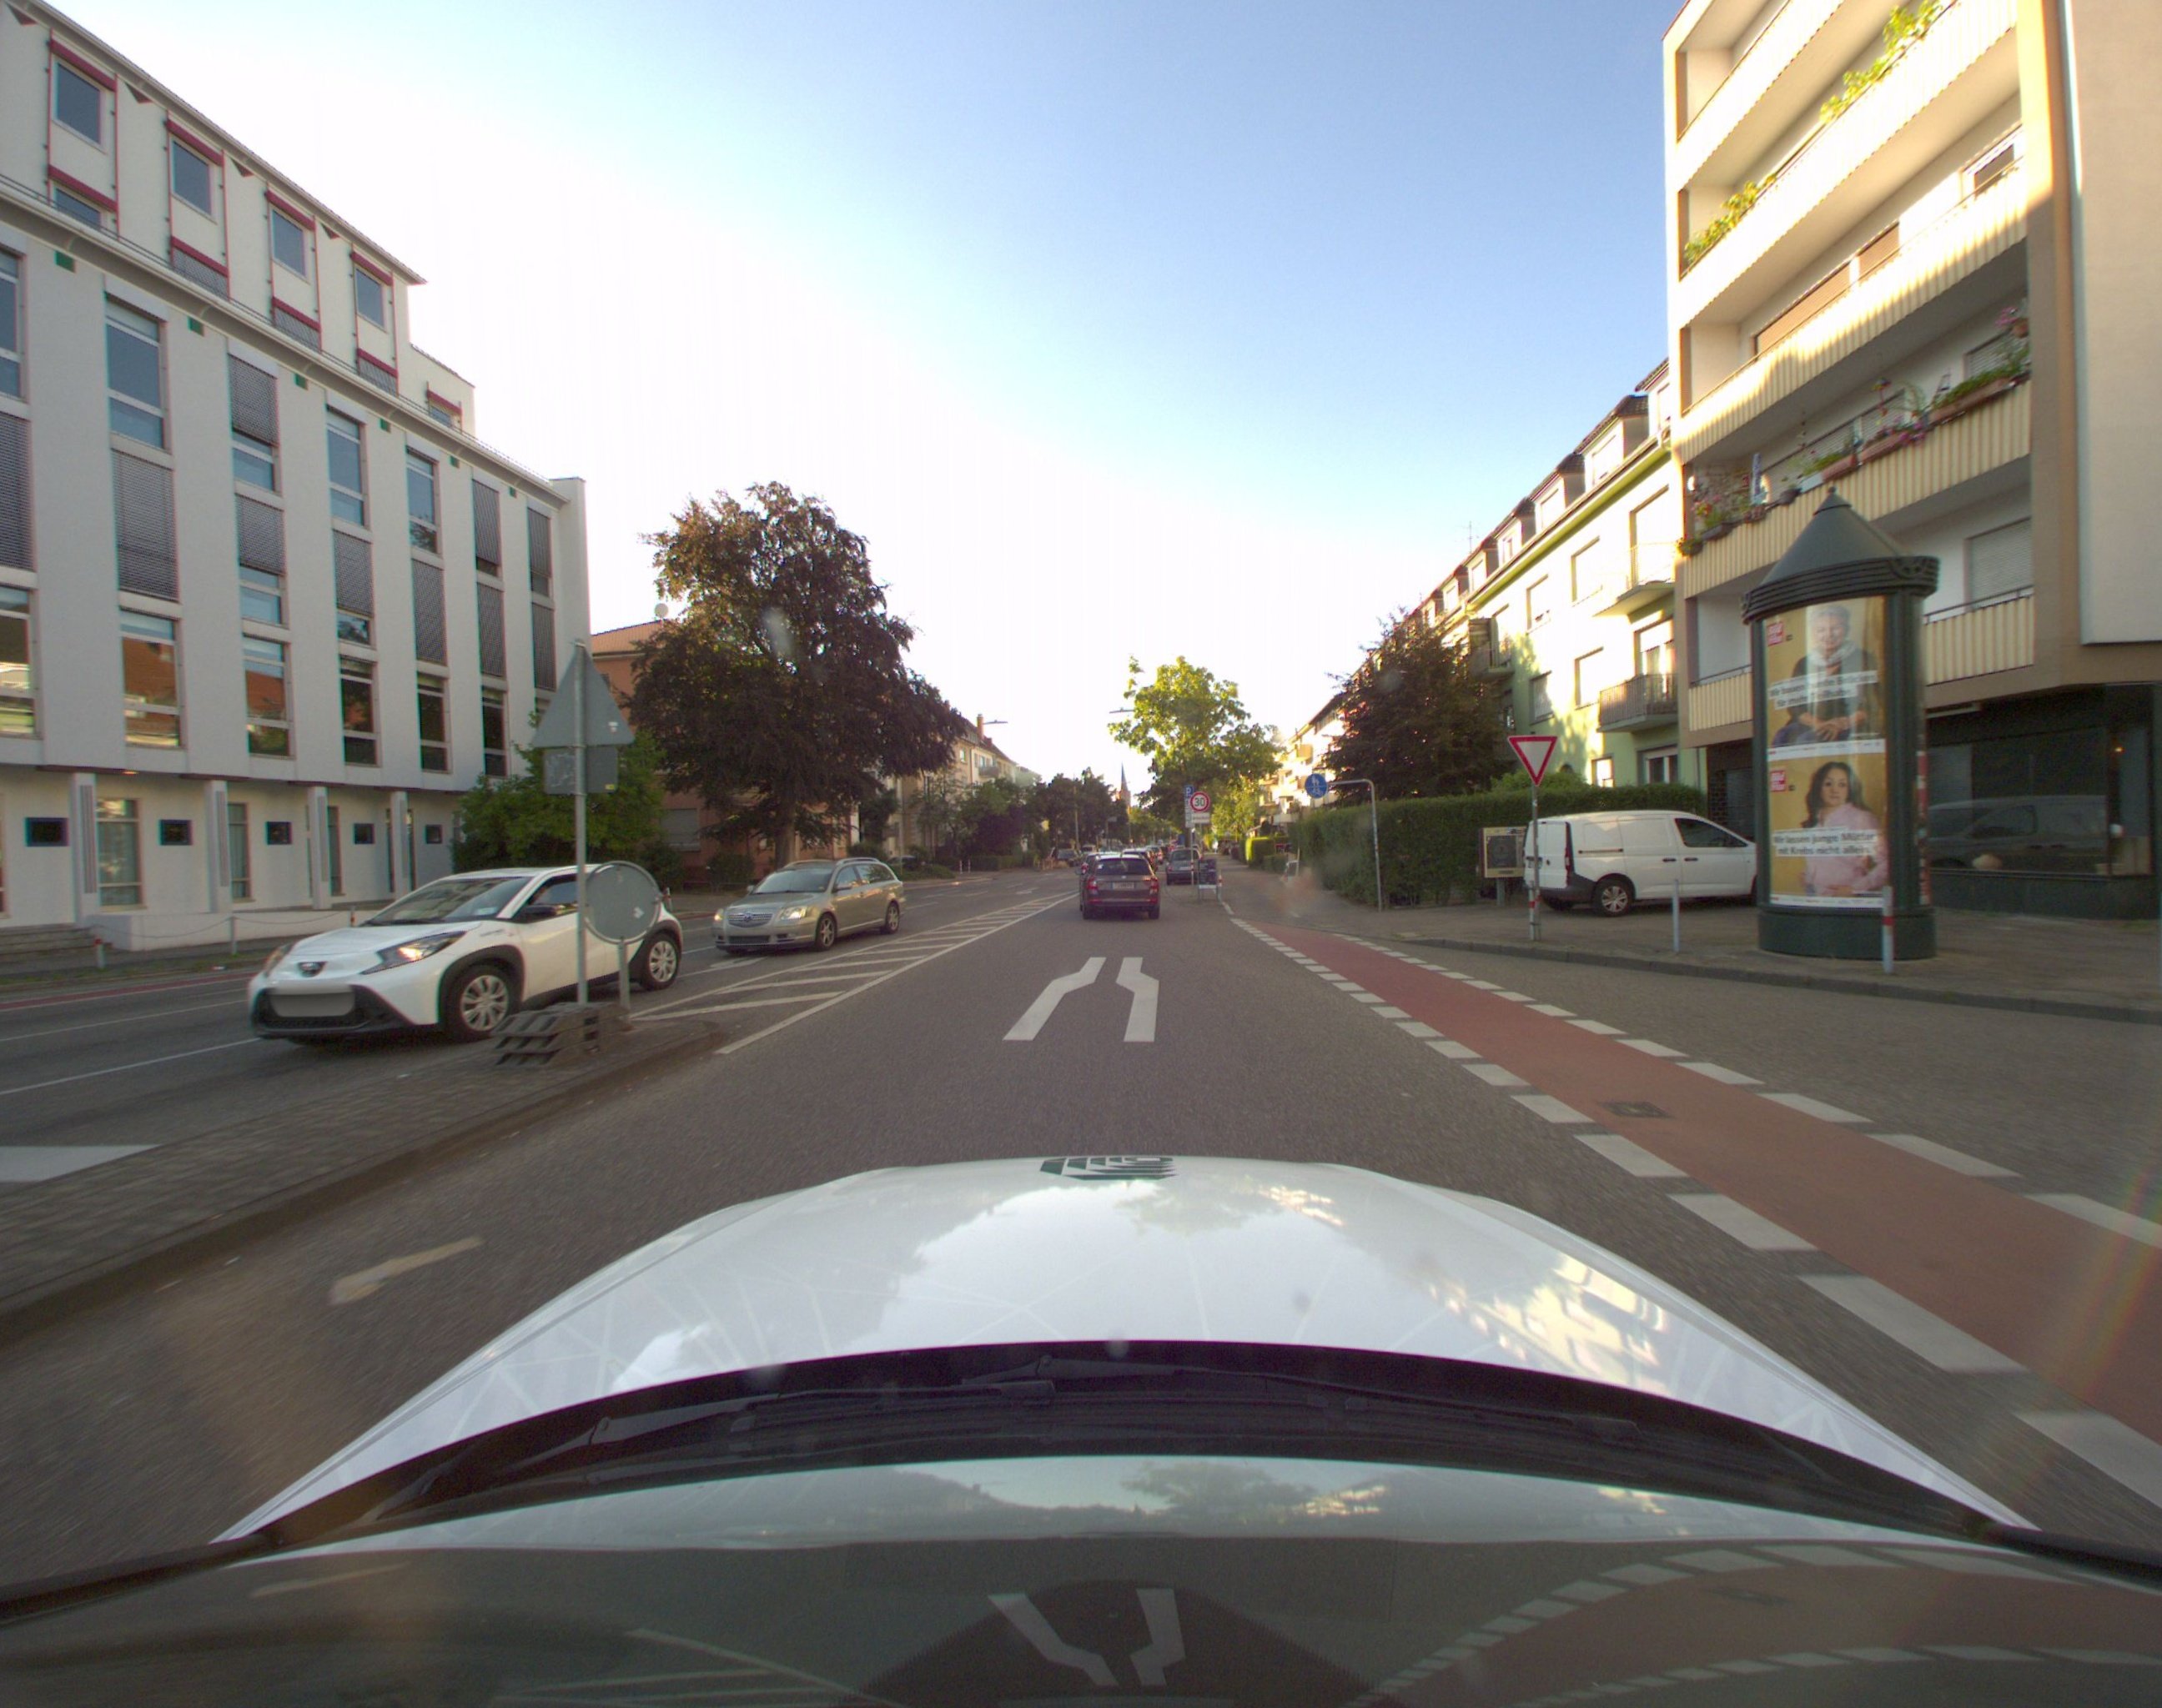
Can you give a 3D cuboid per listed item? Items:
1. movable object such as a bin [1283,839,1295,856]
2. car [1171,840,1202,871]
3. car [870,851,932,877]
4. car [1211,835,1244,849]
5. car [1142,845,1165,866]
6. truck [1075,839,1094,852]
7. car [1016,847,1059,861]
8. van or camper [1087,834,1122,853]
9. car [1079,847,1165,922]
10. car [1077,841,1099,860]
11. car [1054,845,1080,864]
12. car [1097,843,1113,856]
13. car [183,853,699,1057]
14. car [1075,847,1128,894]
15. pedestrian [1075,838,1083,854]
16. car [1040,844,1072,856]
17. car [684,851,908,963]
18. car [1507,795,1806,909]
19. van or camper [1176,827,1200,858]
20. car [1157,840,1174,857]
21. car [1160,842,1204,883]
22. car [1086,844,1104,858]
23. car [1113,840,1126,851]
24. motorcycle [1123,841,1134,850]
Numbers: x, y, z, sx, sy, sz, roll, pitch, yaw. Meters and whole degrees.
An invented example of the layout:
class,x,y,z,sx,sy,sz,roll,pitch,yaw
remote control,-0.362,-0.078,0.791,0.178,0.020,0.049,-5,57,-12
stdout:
class,x,y,z,sx,sy,sz,roll,pitch,yaw
movable object such as a bin,12.763,-0.400,49.970,0.579,1.002,0.798,-2,1,7
car,6.362,0.064,48.969,1.723,1.651,4.300,-2,1,7
car,-11.594,0.627,52.513,3.482,1.486,1.817,-2,1,3
car,21.676,-1.824,120.423,4.549,1.892,1.901,-2,1,-21
car,6.164,0.088,68.882,1.723,1.651,3.549,-2,1,7
truck,0.520,-1.373,134.451,2.898,2.093,1.549,-2,1,6
car,-4.848,-0.030,91.101,4.704,1.362,1.996,-2,1,-6
van or camper,5.388,-2.343,184.066,7.603,3.874,2.003,-2,1,5
car,0.871,0.631,19.359,1.724,1.493,3.949,-2,1,-1
car,0.801,-0.447,88.771,1.760,1.919,4.469,-2,1,7
car,-1.209,0.031,73.357,1.741,1.502,4.206,-2,1,7
car,3.204,-0.594,107.665,1.707,1.497,4.257,-2,1,7
car,-5.914,0.793,8.274,1.818,1.460,3.910,-2,1,7
car,0.802,0.549,29.576,1.722,1.493,3.955,-2,1,4
pedestrian,-0.274,-1.017,102.922,0.763,2.013,0.978,-2,1,7
car,-3.206,-0.483,105.554,3.970,1.479,2.002,-1,1,3
car,-4.728,0.781,14.390,1.818,1.514,4.614,-2,1,7
car,10.269,-0.051,14.805,4.069,1.814,1.864,-2,1,4
van or camper,9.952,-1.031,75.797,2.056,2.675,6.002,-2,0,7
car,9.033,-0.595,86.675,1.723,1.651,3.549,-2,1,7
car,4.370,0.327,35.197,1.723,1.550,3.654,-2,1,7
car,1.645,-0.357,96.158,1.707,1.421,3.795,-2,1,7
car,6.241,-1.387,132.315,1.741,1.740,3.599,-2,1,7
motorcycle,8.623,-1.480,147.198,0.770,1.511,2.008,-3,1,-35
